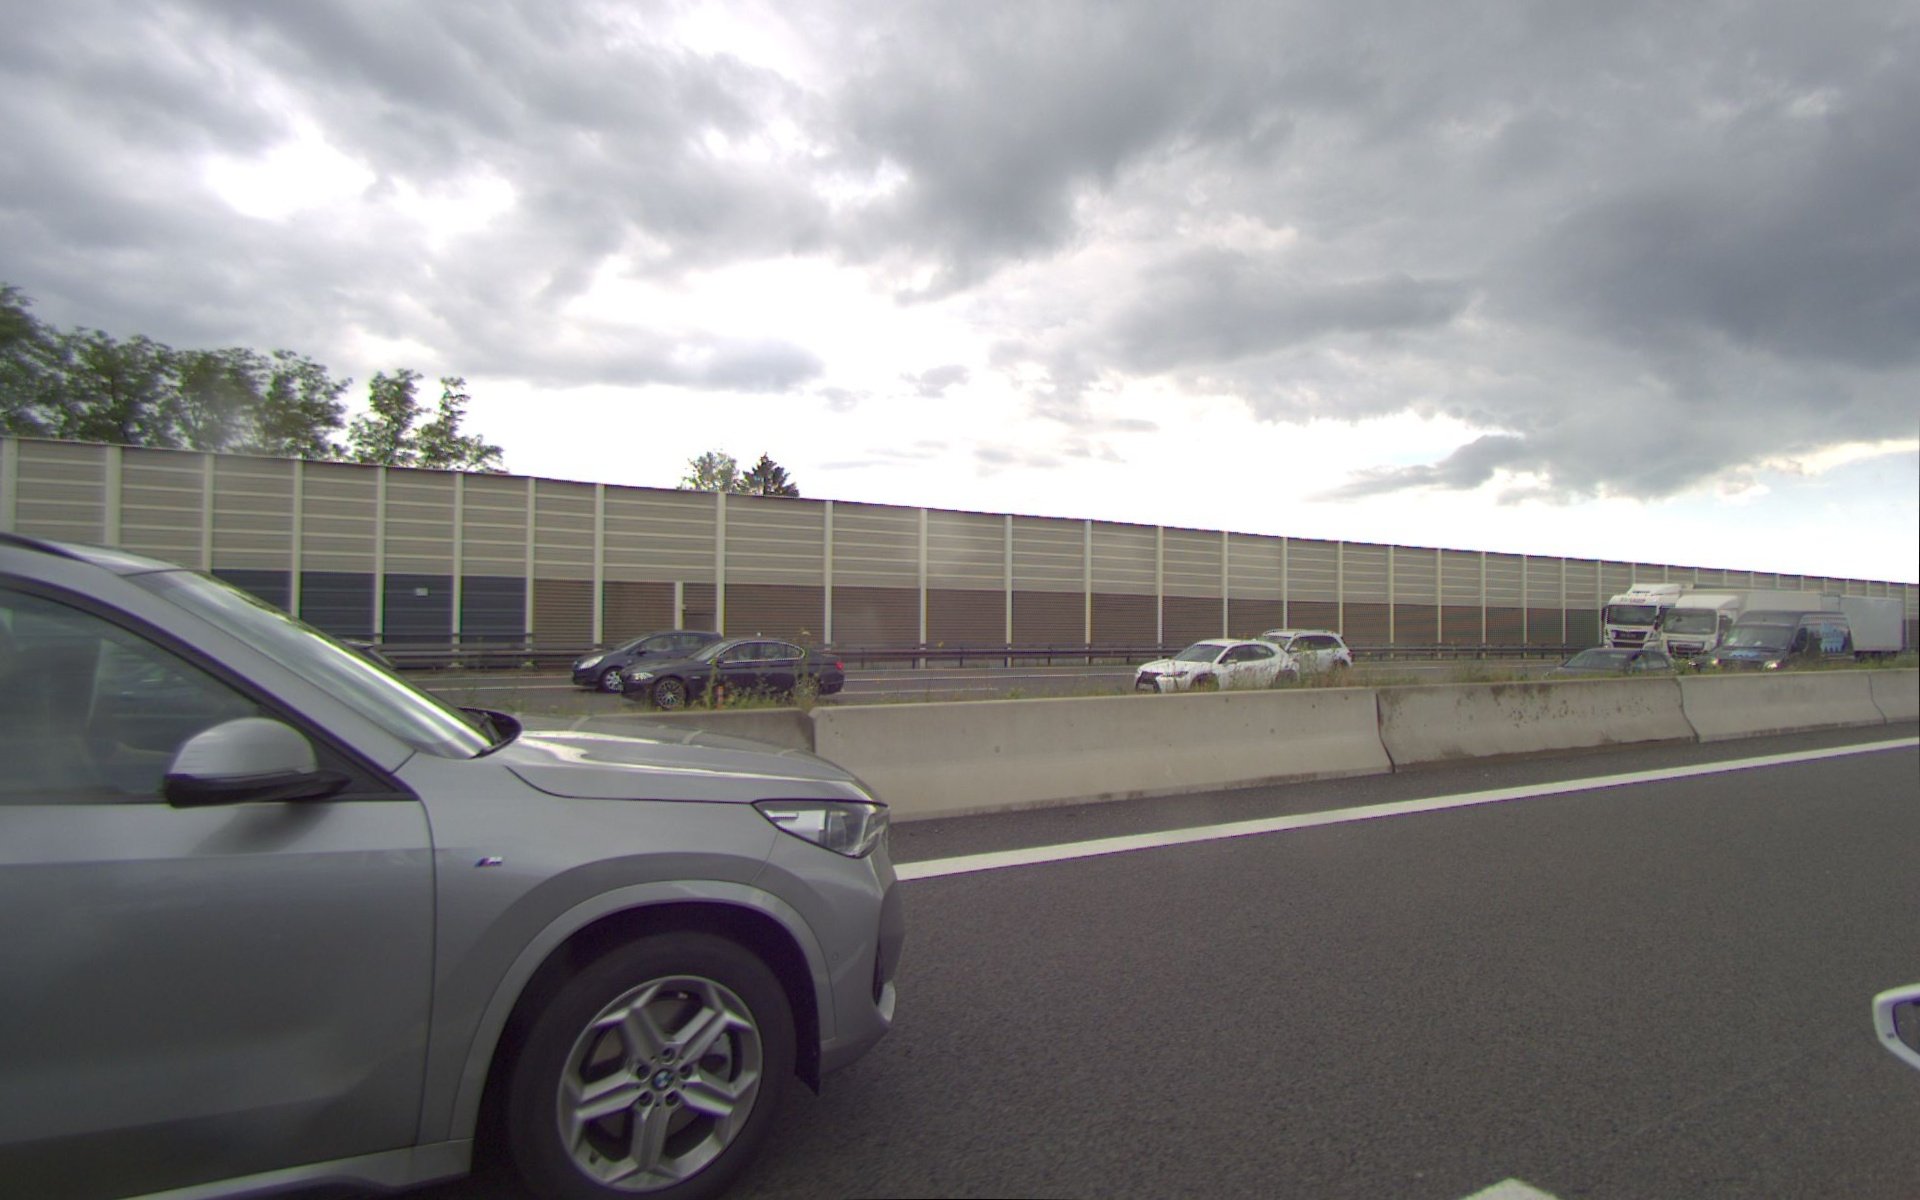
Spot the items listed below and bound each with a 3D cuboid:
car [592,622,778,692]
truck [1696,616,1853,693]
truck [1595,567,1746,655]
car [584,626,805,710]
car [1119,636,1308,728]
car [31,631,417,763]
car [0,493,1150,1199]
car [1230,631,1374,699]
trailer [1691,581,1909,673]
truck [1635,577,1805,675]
[{"bbox_3d":[-6.956,1.398,25.494,4.202,1.620,1.914,1,-1,-30],"label":"car"},{"bbox_3d":[26.229,1.698,32.290,5.855,2.241,1.984,1,0,-30],"label":"truck"},{"bbox_3d":[35.656,0.586,50.290,8.810,4.129,2.697,1,0,-30],"label":"truck"},{"bbox_3d":[-5.625,1.377,21.350,4.202,1.620,1.914,1,-1,-30],"label":"car"},{"bbox_3d":[5.971,1.841,23.583,4.202,1.931,1.914,1,-1,-30],"label":"car"},{"bbox_3d":[-10.202,1.269,14.398,4.202,1.620,1.914,1,-1,-30],"label":"car"},{"bbox_3d":[-1.950,0.636,2.688,4.858,1.646,1.827,1,0,-31],"label":"car"},{"bbox_3d":[10.443,1.923,30.616,4.202,1.931,1.914,1,-1,-30],"label":"car"},{"bbox_3d":[40.651,1.273,48.316,14.803,3.987,3.065,1,0,-30],"label":"trailer"},{"bbox_3d":[33.517,1.110,44.213,7.957,3.987,3.065,1,0,-30],"label":"truck"}]
